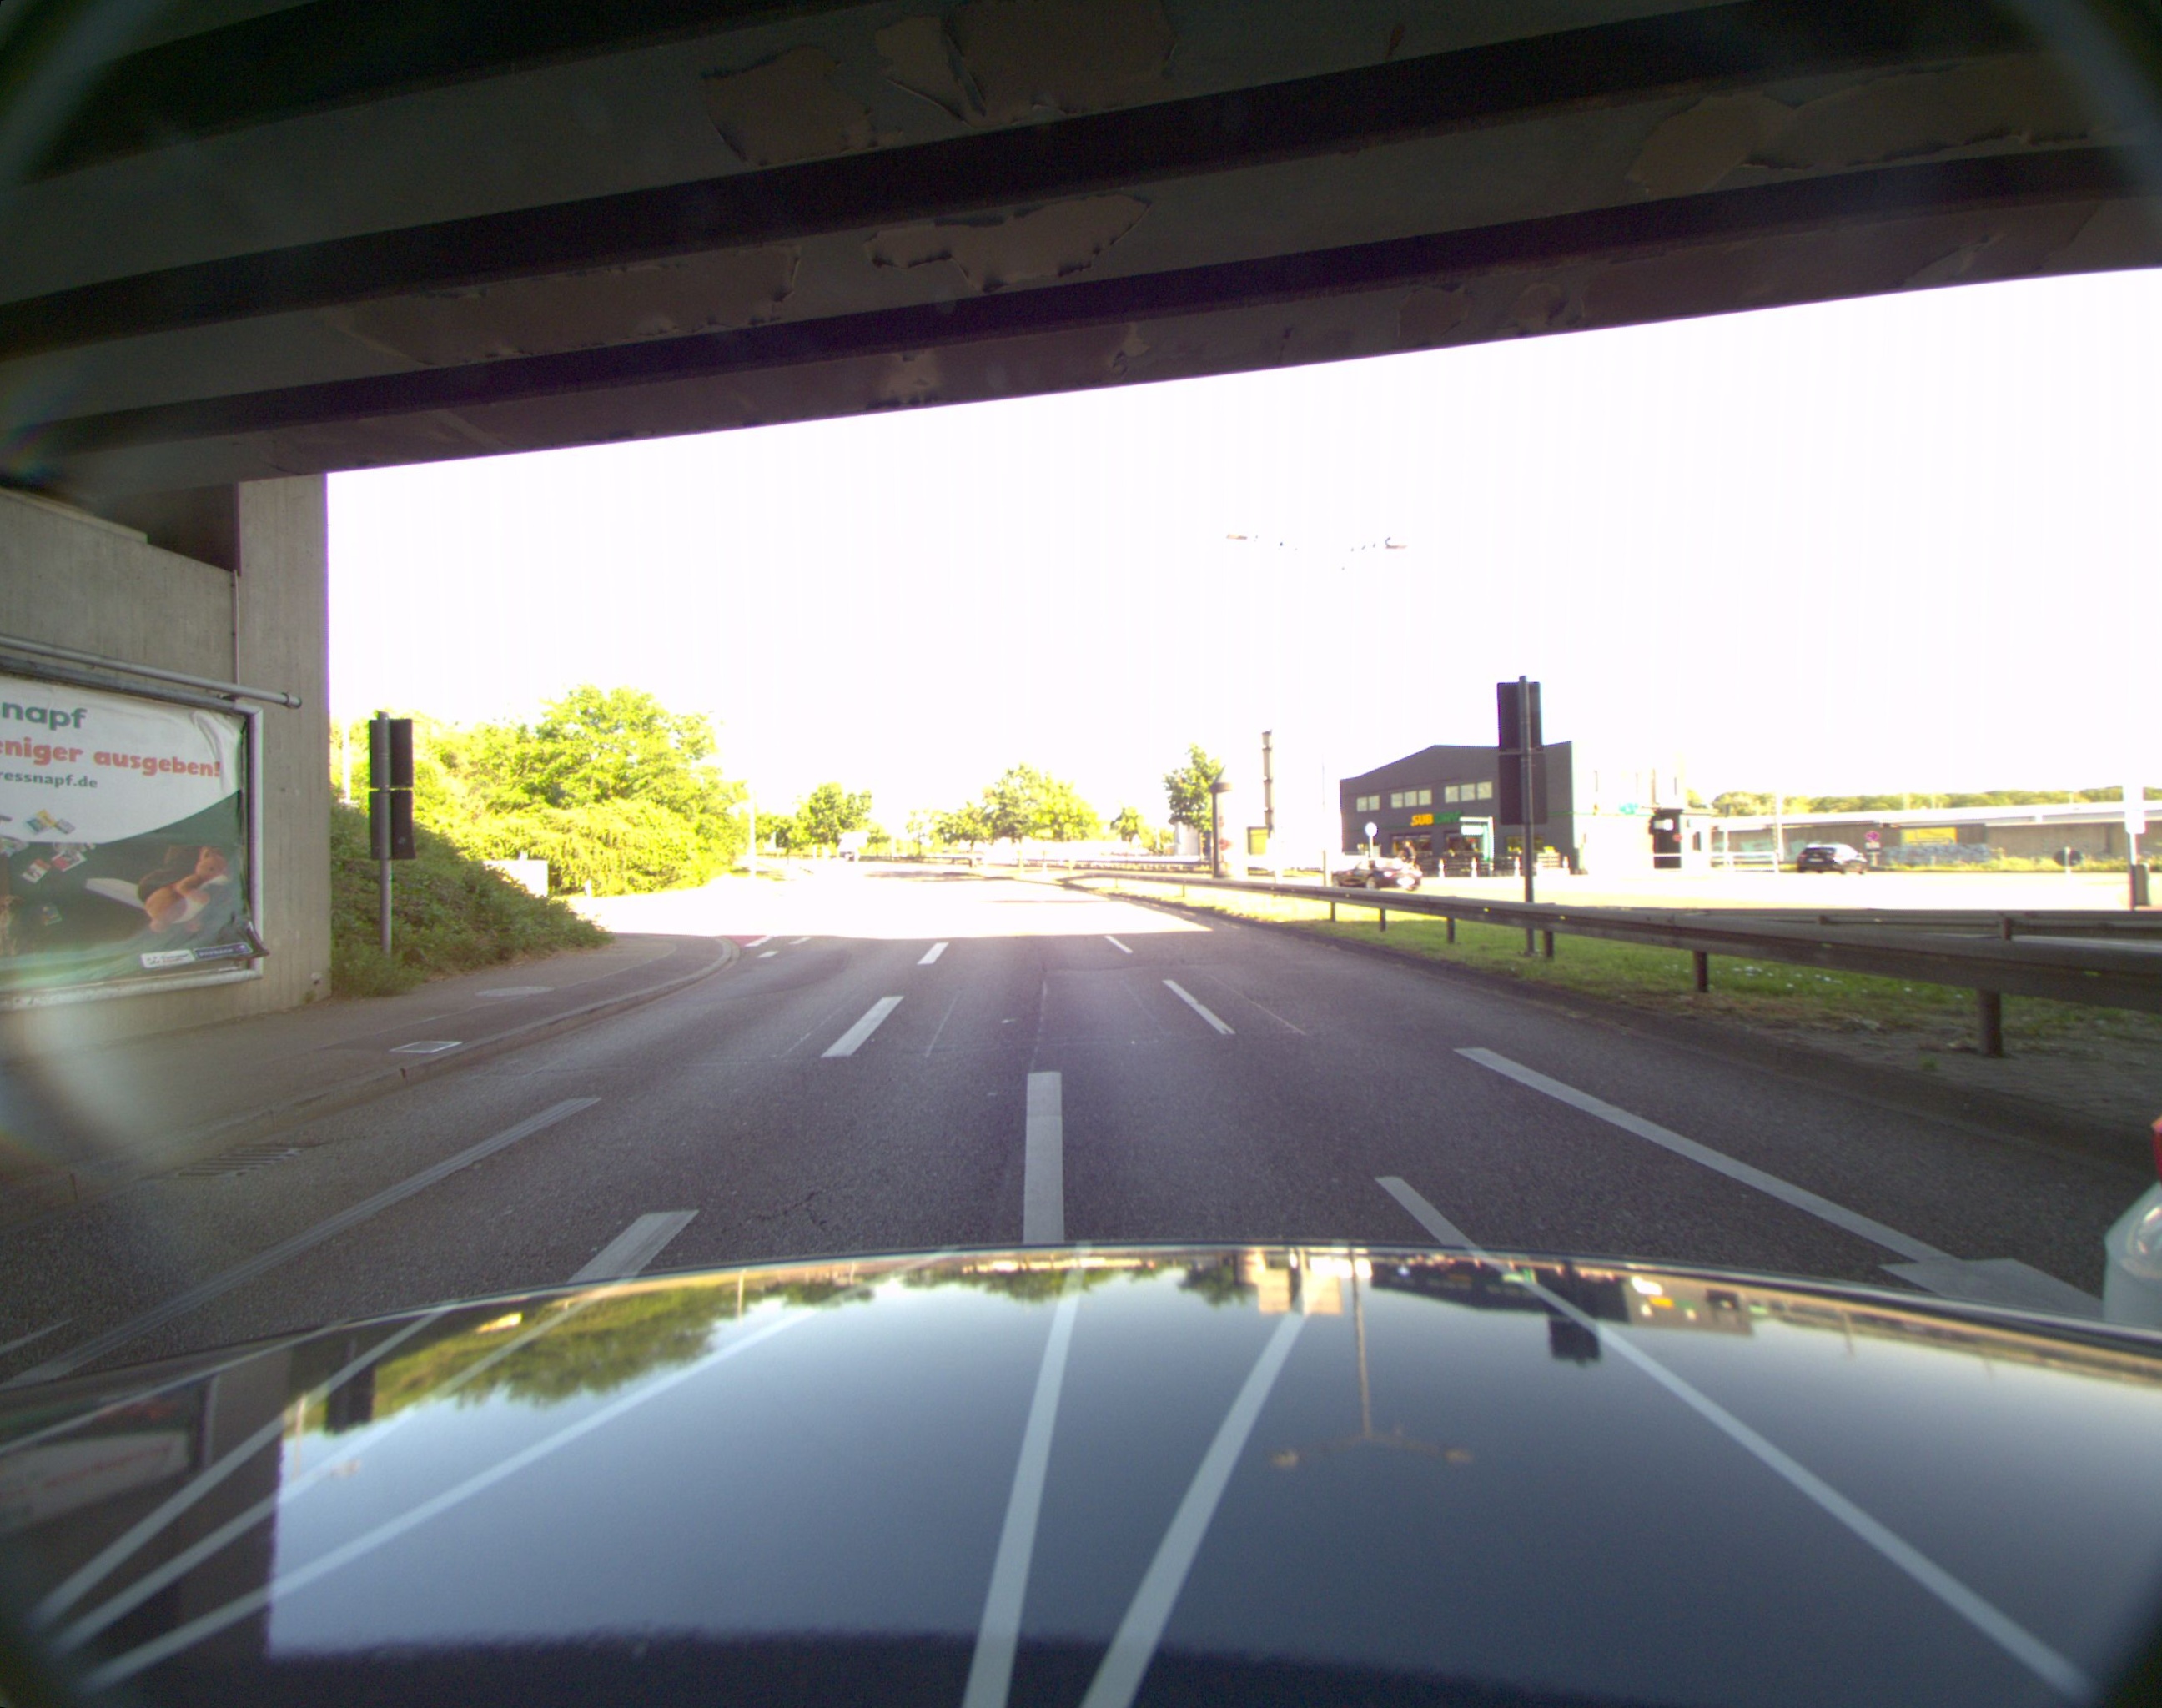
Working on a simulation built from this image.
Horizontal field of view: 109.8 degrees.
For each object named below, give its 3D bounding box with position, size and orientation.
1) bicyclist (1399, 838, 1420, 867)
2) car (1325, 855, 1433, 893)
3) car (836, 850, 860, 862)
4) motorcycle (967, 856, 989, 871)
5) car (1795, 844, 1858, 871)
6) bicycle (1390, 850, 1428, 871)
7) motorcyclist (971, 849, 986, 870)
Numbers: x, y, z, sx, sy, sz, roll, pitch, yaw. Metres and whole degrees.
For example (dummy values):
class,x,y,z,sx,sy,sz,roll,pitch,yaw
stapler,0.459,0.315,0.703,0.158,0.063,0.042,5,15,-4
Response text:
class,x,y,z,sx,sy,sz,roll,pitch,yaw
bicyclist,16.277,-0.060,37.645,0.594,1.419,0.707,-3,1,-28
car,10.882,0.681,28.123,1.748,1.274,4.178,1,0,-11
car,-36.322,0.323,118.348,1.835,1.727,4.516,1,0,-42
motorcycle,-11.278,1.035,83.088,1.110,1.651,3.147,-3,1,-33
car,38.292,0.182,39.013,4.191,1.274,1.825,1,0,-39
bicycle,16.263,0.333,37.737,0.594,1.017,1.746,-3,1,-28
motorcyclist,-11.235,0.603,83.041,1.110,2.228,1.180,-3,1,-33
